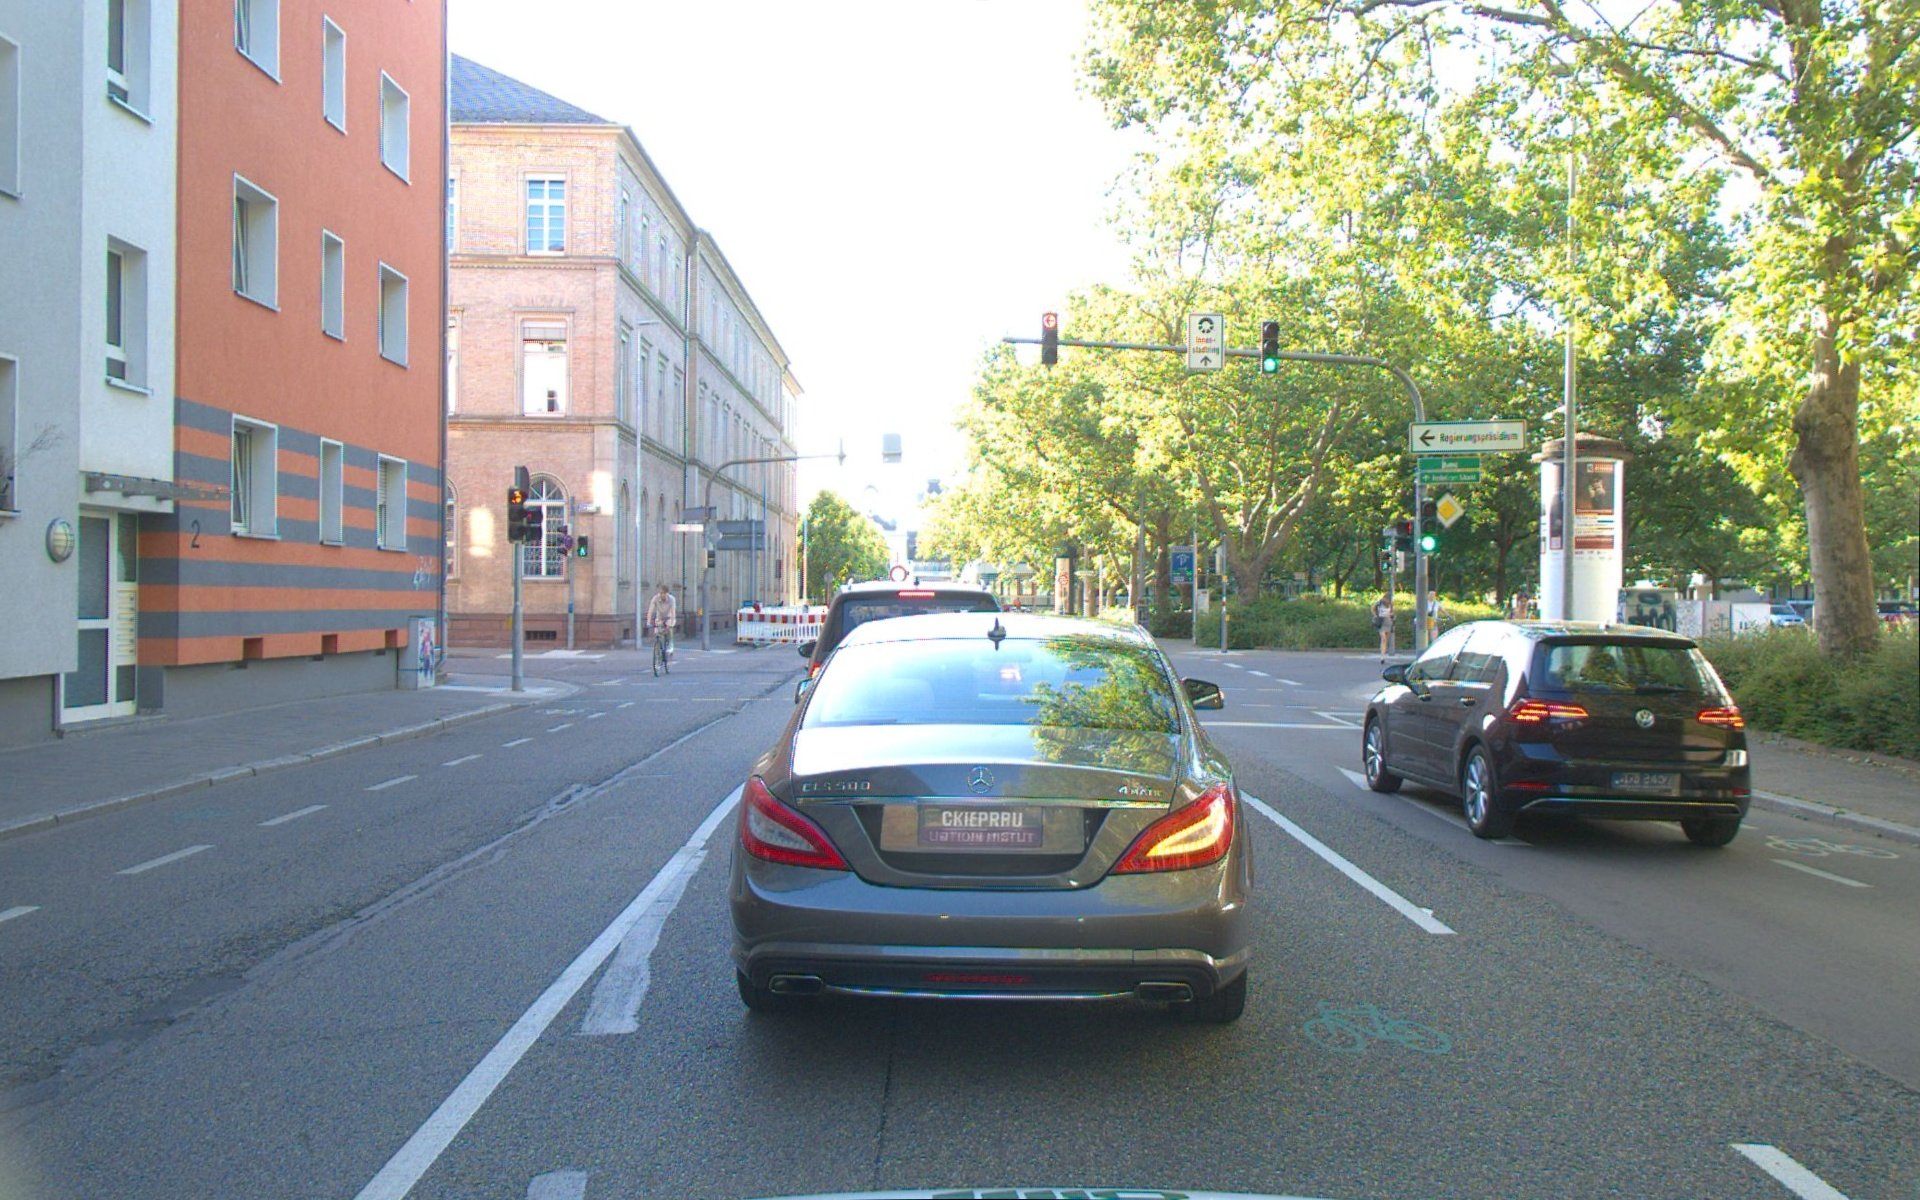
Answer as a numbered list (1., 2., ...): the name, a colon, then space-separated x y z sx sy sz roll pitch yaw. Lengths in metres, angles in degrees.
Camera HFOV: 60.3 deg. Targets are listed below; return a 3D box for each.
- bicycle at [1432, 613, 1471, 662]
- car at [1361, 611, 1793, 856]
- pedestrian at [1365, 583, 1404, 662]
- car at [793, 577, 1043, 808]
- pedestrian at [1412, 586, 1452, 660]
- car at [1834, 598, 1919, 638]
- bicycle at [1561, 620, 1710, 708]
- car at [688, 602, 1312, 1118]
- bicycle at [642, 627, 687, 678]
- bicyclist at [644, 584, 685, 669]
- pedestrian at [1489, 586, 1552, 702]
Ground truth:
1. bicycle: 11.543 0.874 38.899 0.513 1.119 1.742 1 0 4
2. car: 4.288 0.837 12.166 1.655 1.465 3.901 1 0 -1
3. pedestrian: 10.007 0.539 38.980 0.716 1.840 0.909 -1 -1 4
4. car: -0.269 0.665 13.724 1.772 1.641 4.000 0 0 1
5. pedestrian: 11.130 0.538 38.999 0.669 1.727 0.971 1 0 2
6. car: 36.265 0.702 65.149 1.596 1.508 3.794 1 0 -2
7. bicycle: 9.694 0.911 23.763 1.936 1.210 0.528 1 -1 -2
8. car: 0.298 0.760 7.089 1.804 1.454 4.520 1 0 5
9. bicycle: -5.659 0.989 31.698 0.537 0.906 1.867 1 0 -1
10. bicyclist: -5.648 0.499 31.636 0.635 1.586 0.806 1 -1 -2
11. pedestrian: 8.166 0.638 24.122 0.781 1.659 0.908 -1 -1 16
